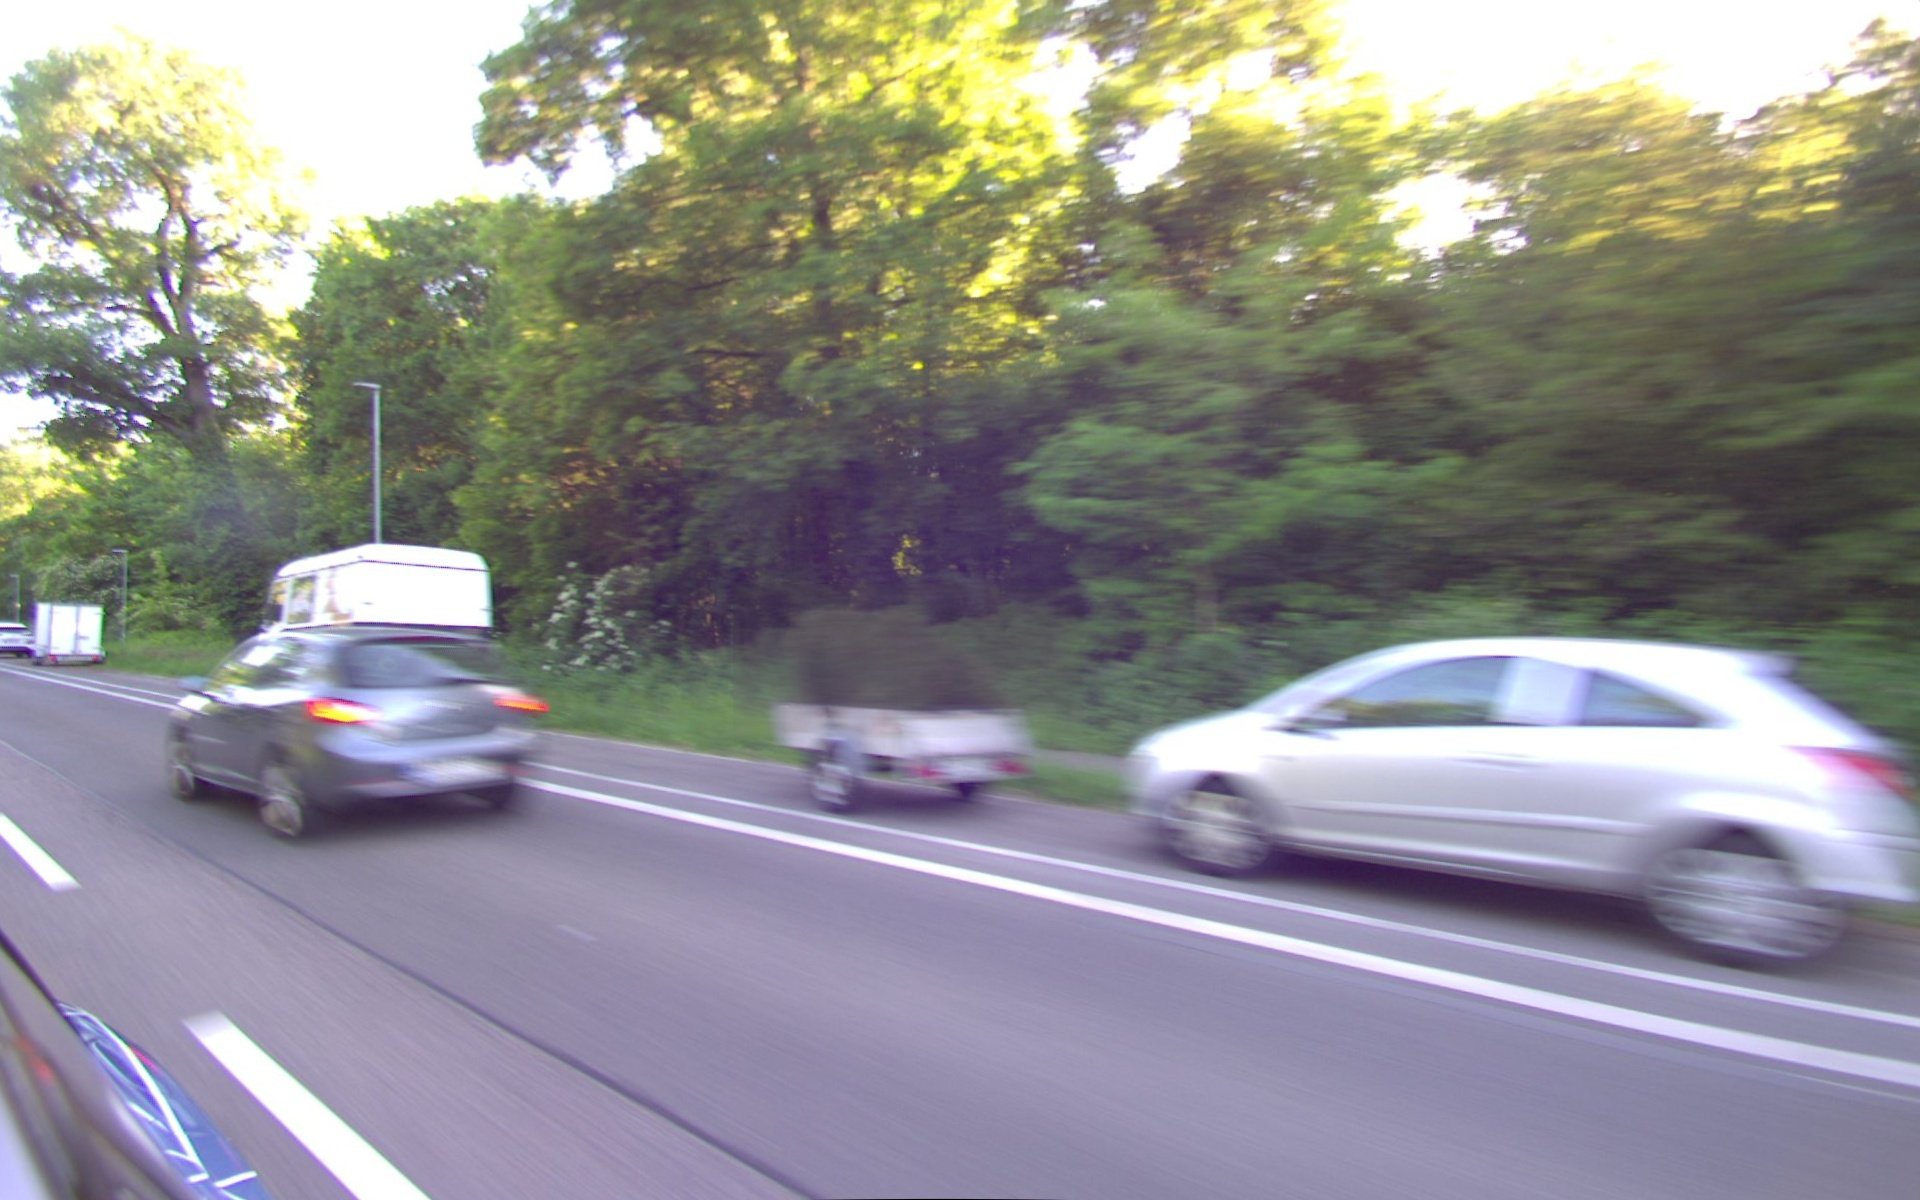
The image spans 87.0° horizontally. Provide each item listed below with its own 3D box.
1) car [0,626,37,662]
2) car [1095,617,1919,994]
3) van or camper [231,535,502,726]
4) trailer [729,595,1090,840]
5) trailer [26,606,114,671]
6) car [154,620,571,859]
[{"bbox_3d":[-43.752,2.000,46.118,4.201,1.583,1.796,-2,-4,39],"label":"car"},{"bbox_3d":[3.034,0.900,5.885,4.131,1.475,1.848,-2,-5,41],"label":"car"},{"bbox_3d":[-10.393,0.557,17.517,5.553,2.789,2.278,-2,-4,41],"label":"van or camper"},{"bbox_3d":[-0.591,0.856,8.717,1.451,1.672,3.373,3,-3,-37],"label":"trailer"},{"bbox_3d":[-33.387,1.431,37.944,3.486,2.311,2.052,-1,-2,42],"label":"trailer"},{"bbox_3d":[-4.860,0.884,8.001,3.998,1.426,1.661,-1,-2,41],"label":"car"}]
